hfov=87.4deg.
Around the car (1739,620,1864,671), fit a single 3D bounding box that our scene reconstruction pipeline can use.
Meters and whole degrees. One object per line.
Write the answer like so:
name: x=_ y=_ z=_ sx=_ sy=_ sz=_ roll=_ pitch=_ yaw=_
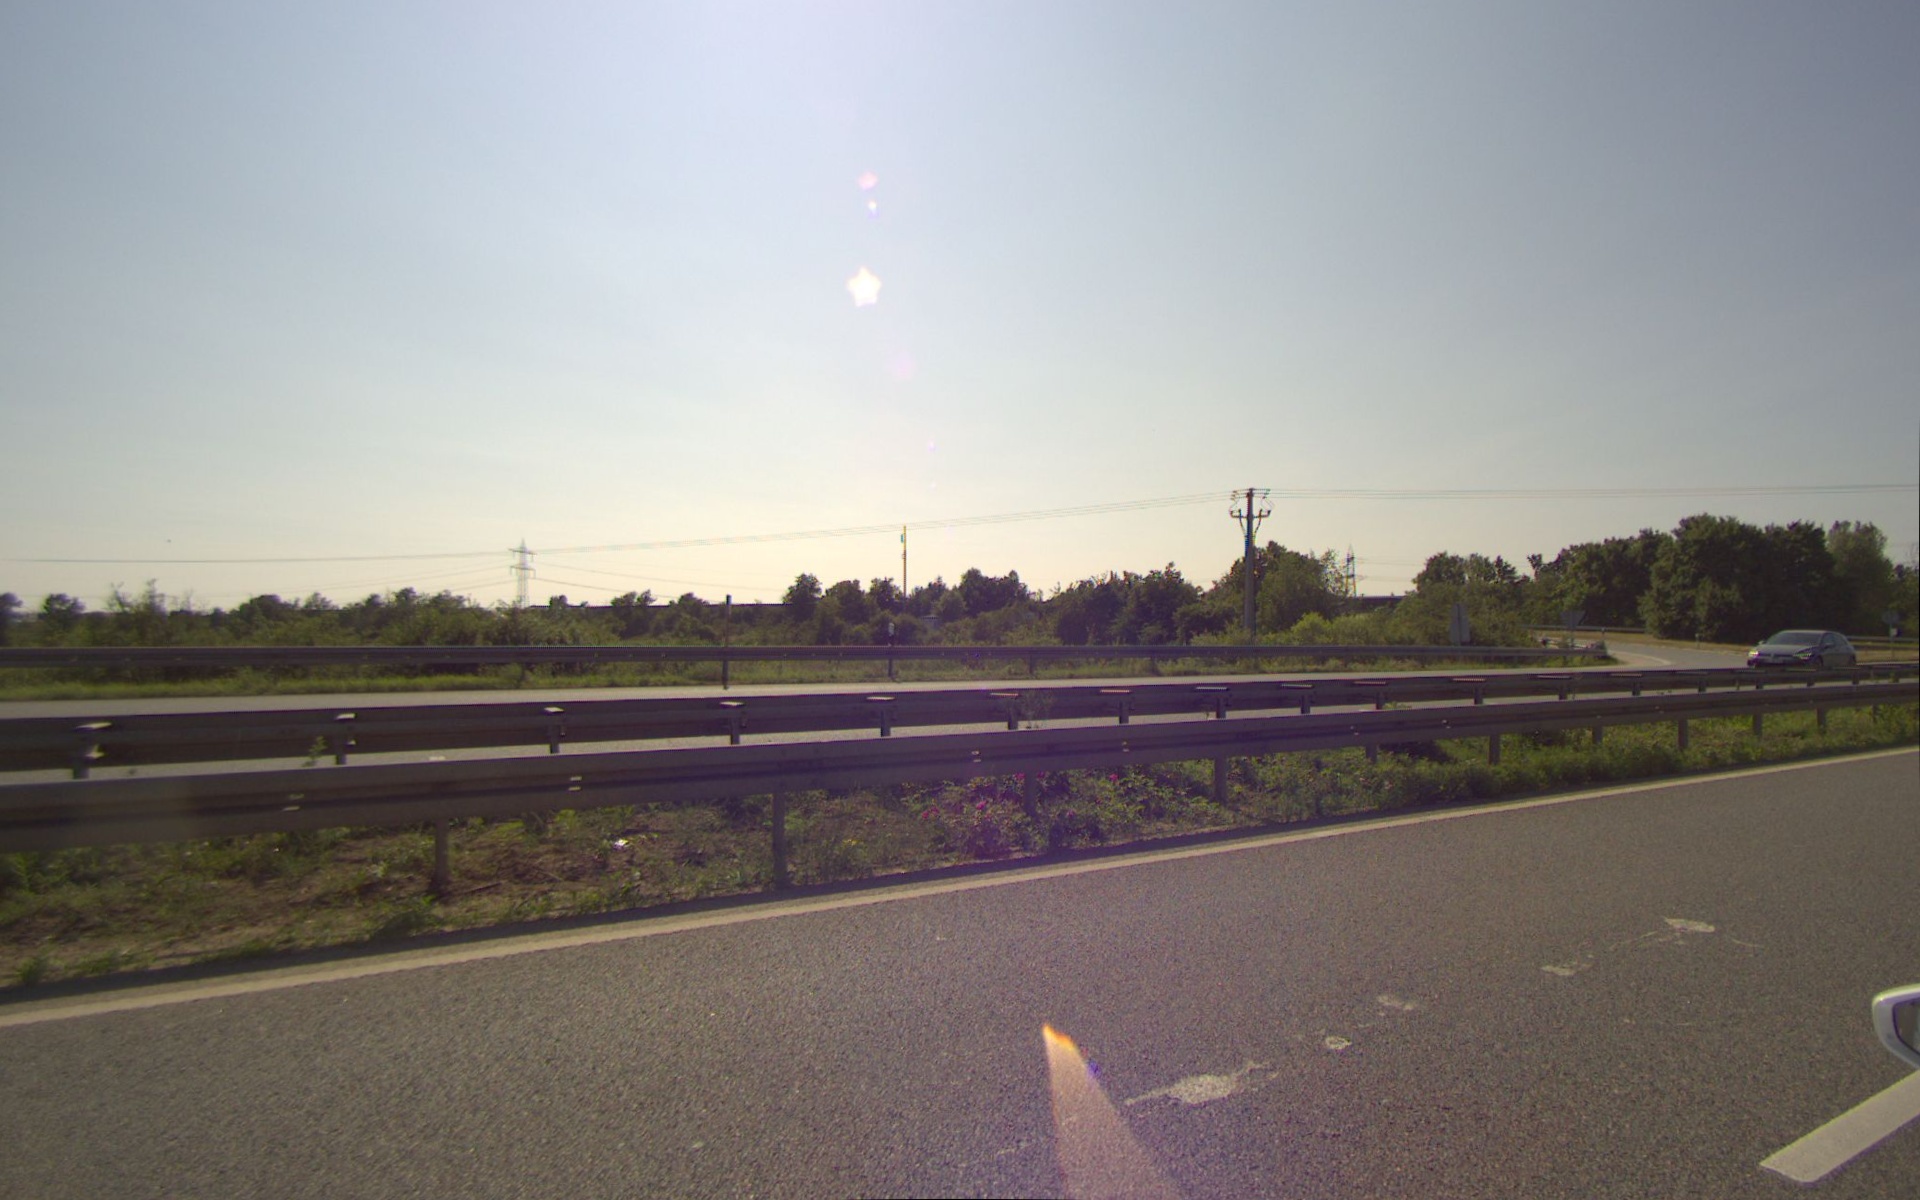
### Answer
car: x=27.568 y=1.451 z=32.878 sx=4.566 sy=1.505 sz=1.691 roll=1 pitch=2 yaw=-31
